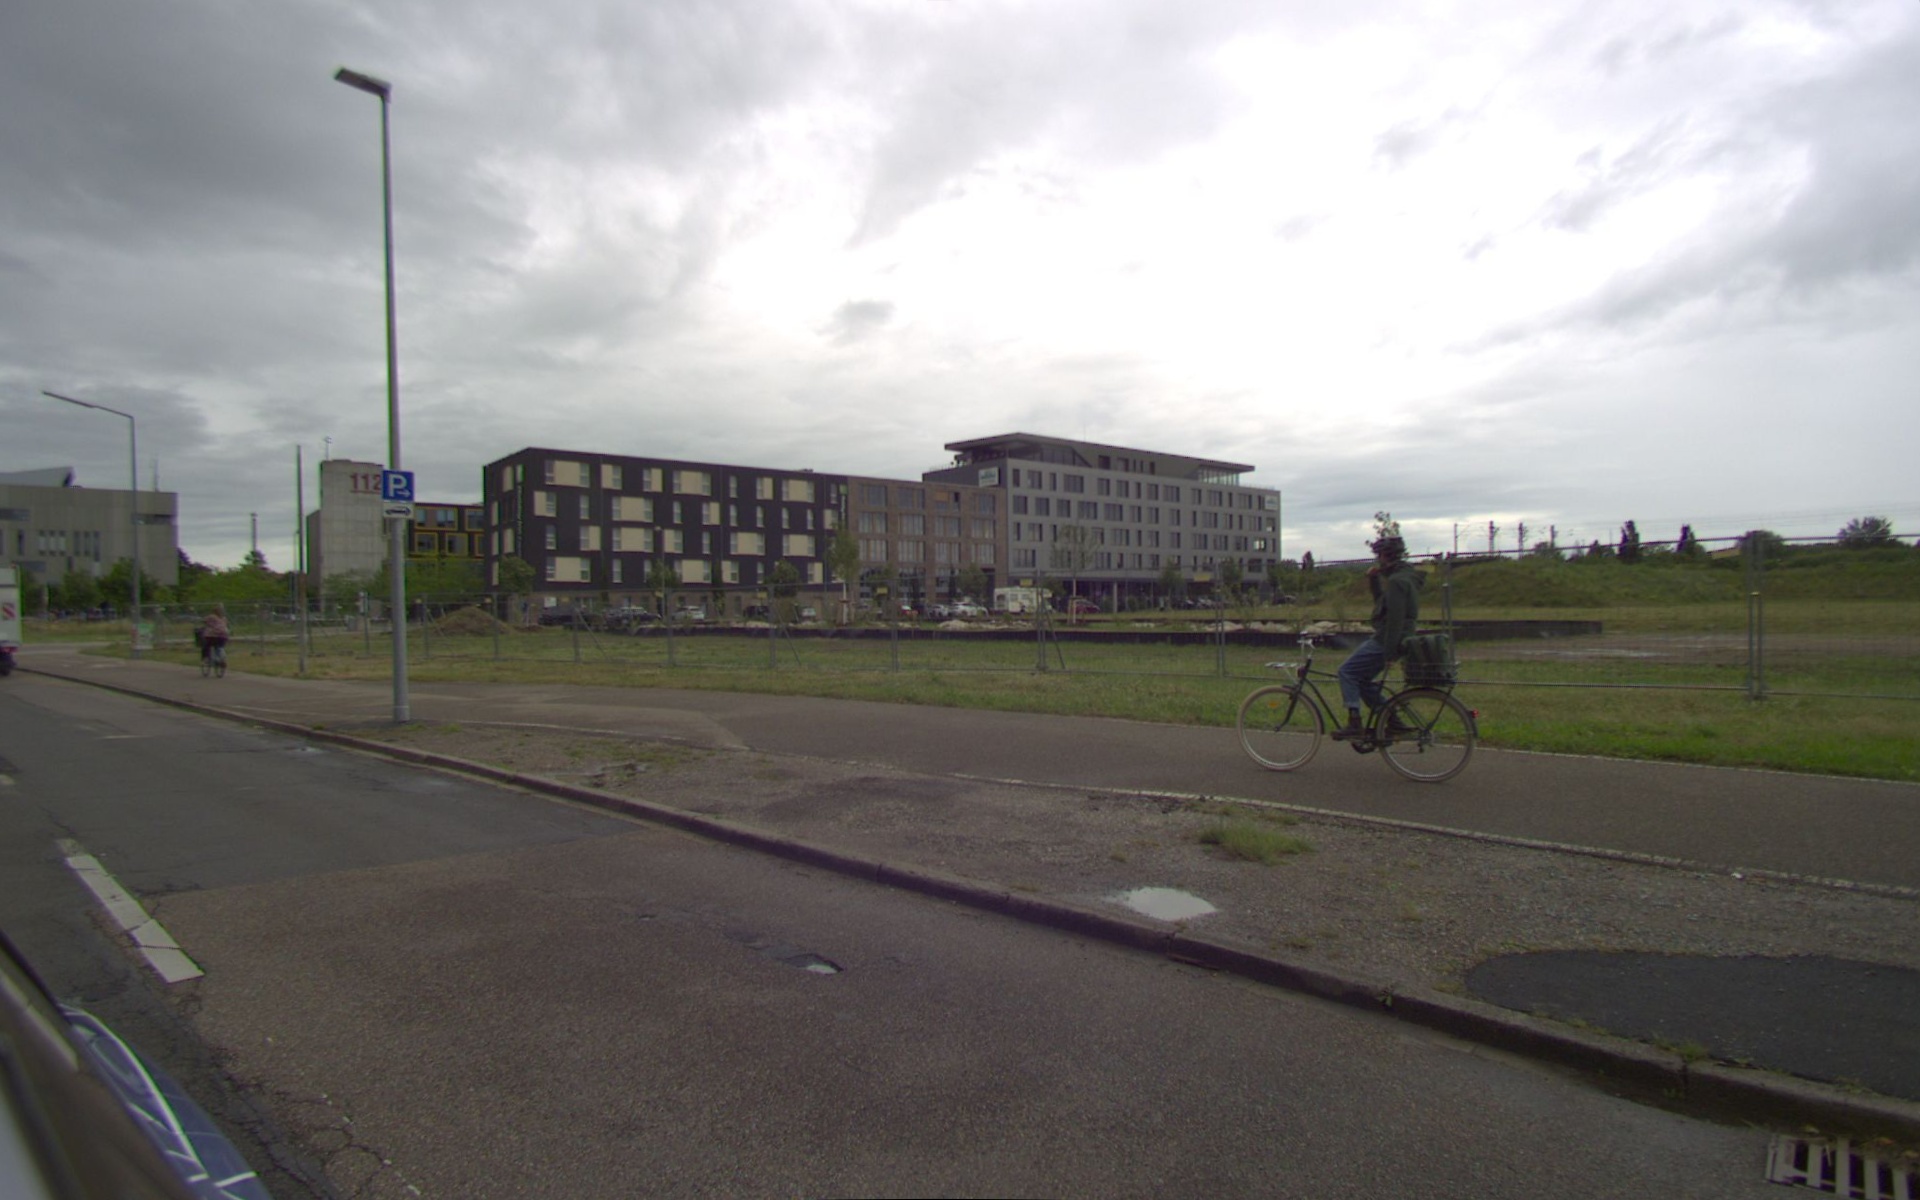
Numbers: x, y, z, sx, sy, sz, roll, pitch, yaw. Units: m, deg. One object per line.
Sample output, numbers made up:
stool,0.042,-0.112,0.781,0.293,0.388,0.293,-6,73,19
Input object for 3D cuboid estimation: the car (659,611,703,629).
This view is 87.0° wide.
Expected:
car,-25.618,1.832,92.720,4.153,1.529,1.972,-2,-1,42

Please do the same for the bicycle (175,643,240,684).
bicycle,-18.491,1.546,24.862,2.231,0.914,0.795,-2,-1,40

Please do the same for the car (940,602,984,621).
car,0.185,1.090,100.476,3.937,1.759,2.003,-1,-1,-40

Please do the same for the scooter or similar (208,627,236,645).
scooter or similar,-50.442,2.459,69.165,0.568,1.177,1.456,-1,1,24

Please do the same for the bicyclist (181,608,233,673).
bicyclist,-18.523,0.994,24.883,1.093,1.538,0.774,-2,-1,40

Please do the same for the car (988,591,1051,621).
car,6.258,0.607,105.754,6.472,2.979,2.719,-1,-1,-40

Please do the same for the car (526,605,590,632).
car,-29.724,1.373,74.869,3.937,1.836,2.003,-1,-1,-40

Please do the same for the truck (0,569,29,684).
truck,-29.071,0.743,29.206,7.492,3.085,2.316,-1,-3,41

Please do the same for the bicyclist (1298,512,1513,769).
bicyclist,3.500,0.299,7.987,1.329,1.835,0.819,-2,-1,41

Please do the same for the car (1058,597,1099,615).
car,13.008,0.682,110.933,4.455,1.851,2.003,-1,0,-41

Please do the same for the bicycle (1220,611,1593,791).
bicycle,3.448,0.723,8.032,2.555,1.213,0.810,-2,-1,40
